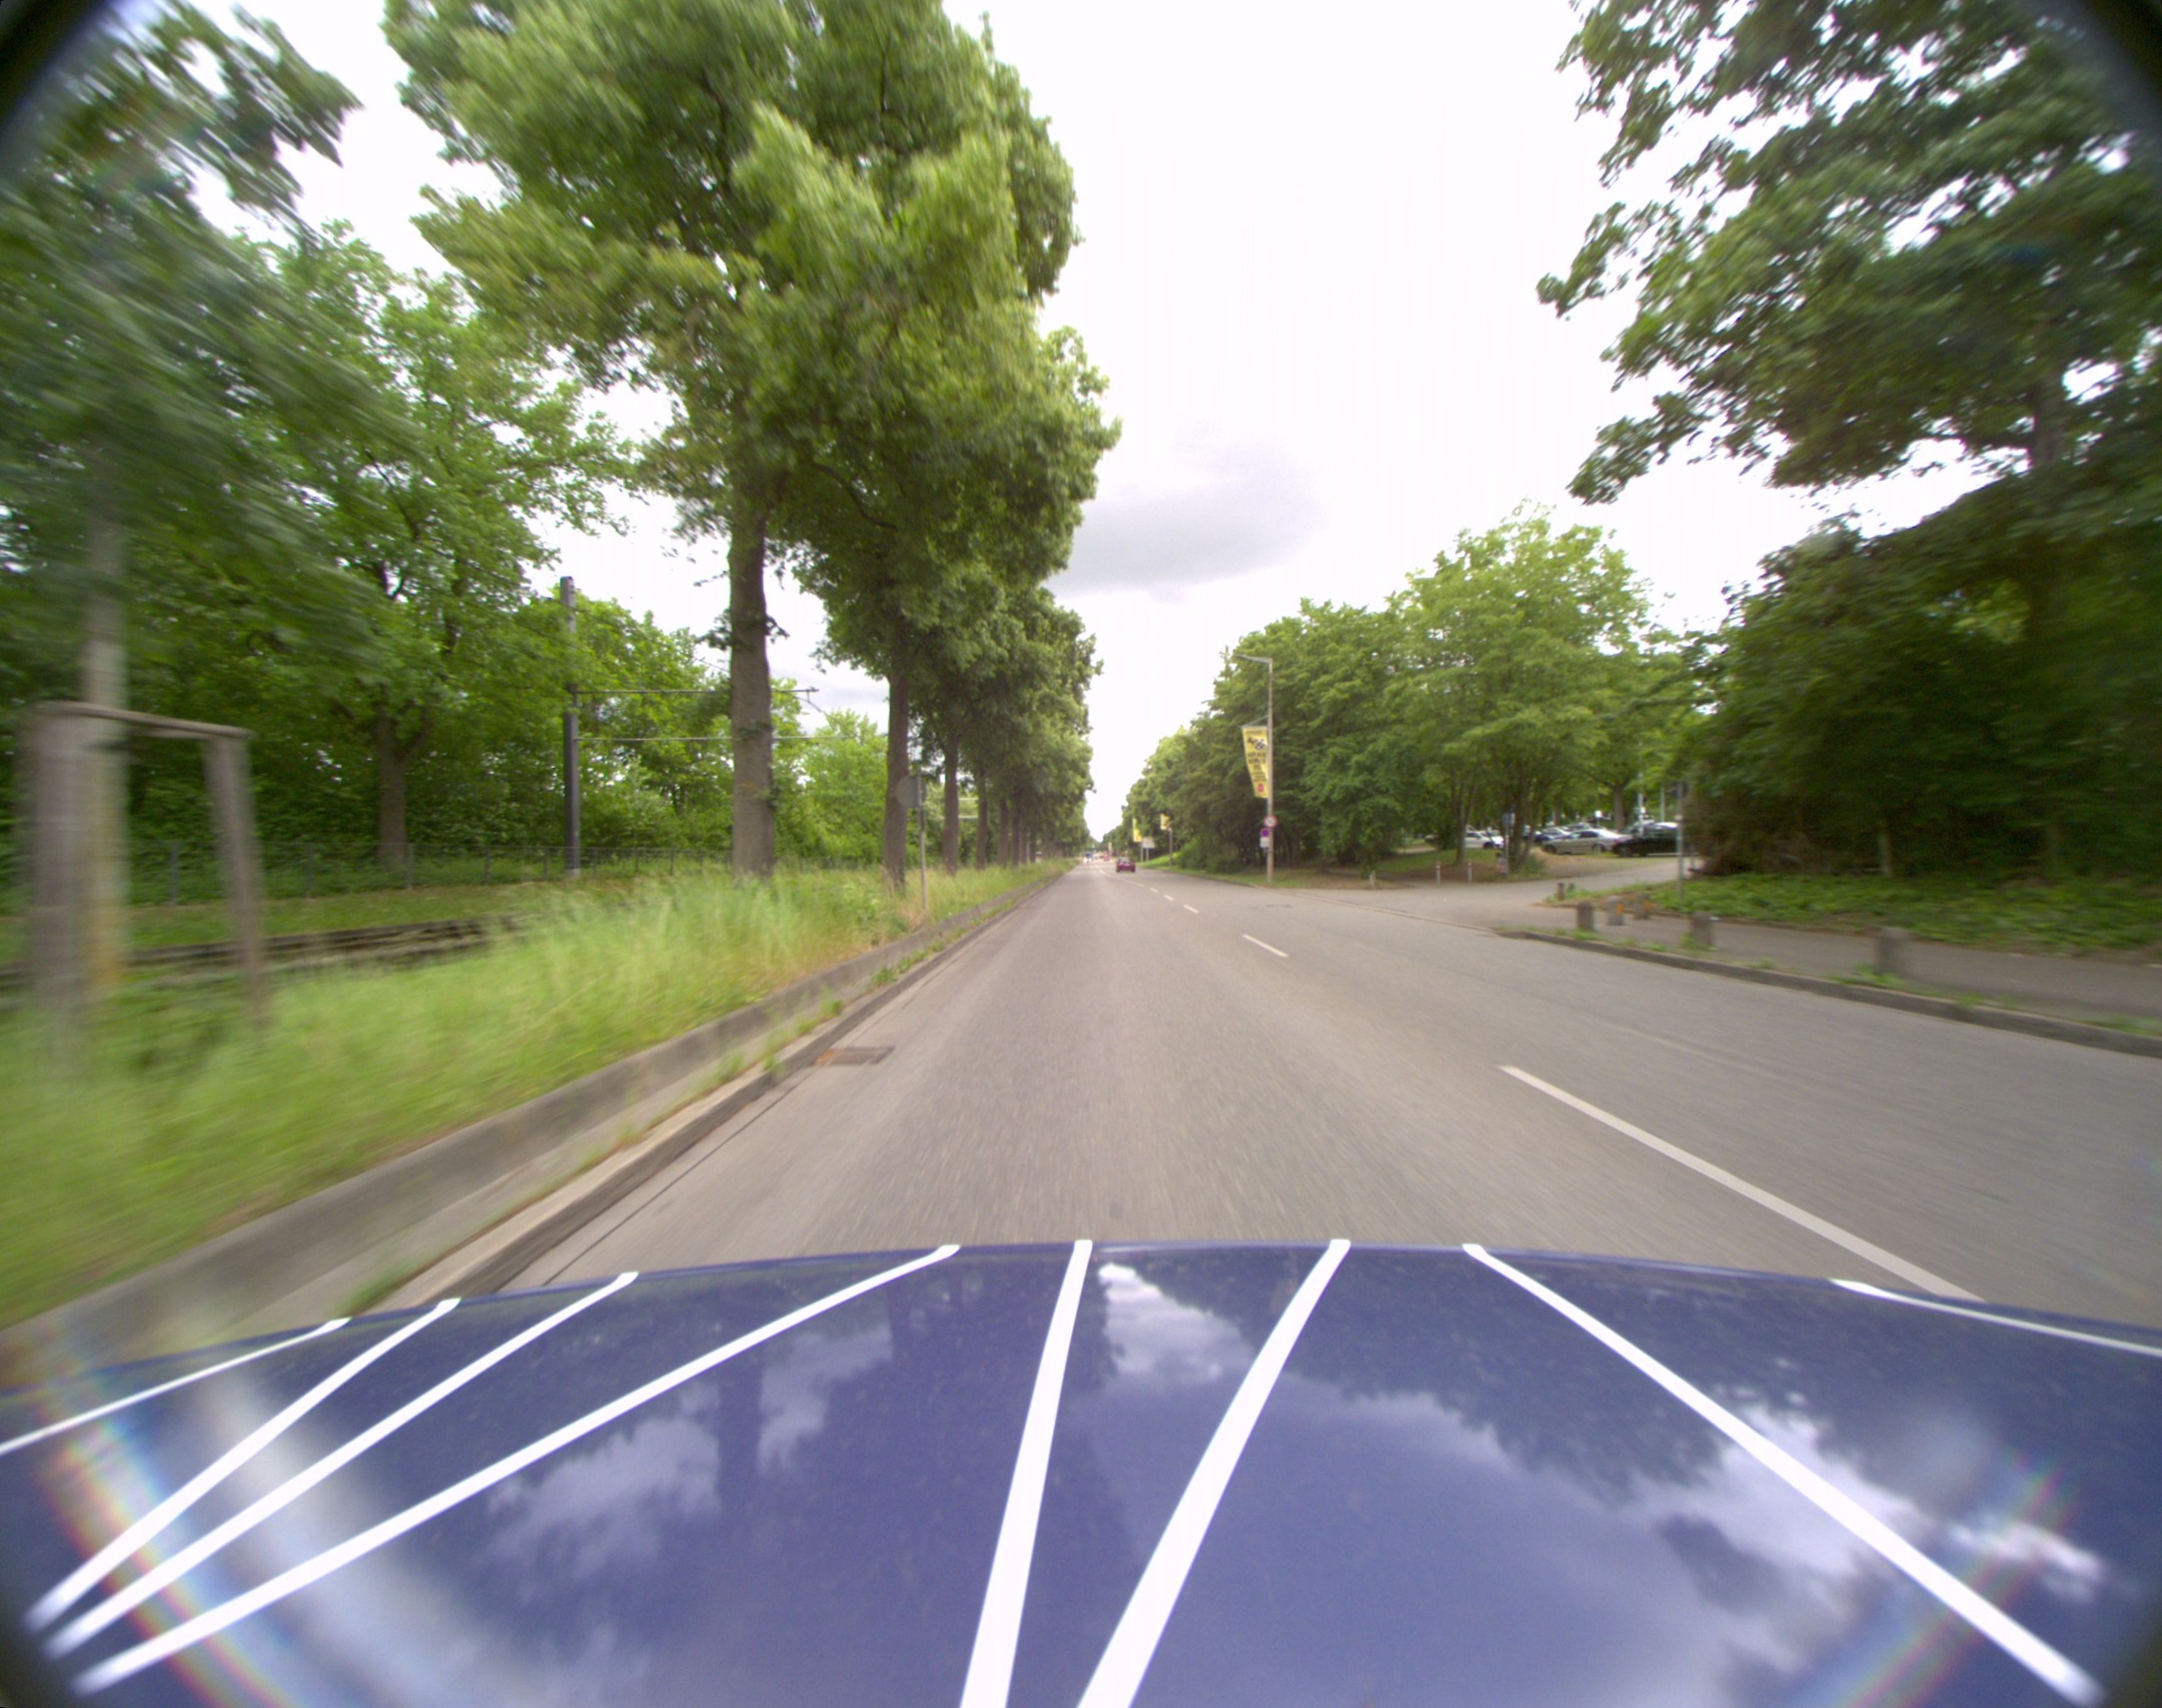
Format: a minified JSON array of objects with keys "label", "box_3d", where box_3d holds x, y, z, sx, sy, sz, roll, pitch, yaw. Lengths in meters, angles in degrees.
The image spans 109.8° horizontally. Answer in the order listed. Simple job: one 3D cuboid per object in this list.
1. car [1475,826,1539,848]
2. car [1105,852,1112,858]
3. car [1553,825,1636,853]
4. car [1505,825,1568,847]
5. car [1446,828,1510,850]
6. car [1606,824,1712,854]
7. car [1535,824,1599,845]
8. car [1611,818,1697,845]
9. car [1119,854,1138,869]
[{"label":"car","box_3d":[32.005,-1.250,57.163,1.653,1.477,3.992,-2,0,-23]},{"label":"car","box_3d":[9.108,0.372,251.456,1.998,1.944,5.184,-1,0,1]},{"label":"car","box_3d":[29.589,-0.845,43.881,1.651,1.372,3.580,-4,1,-26]},{"label":"car","box_3d":[35.398,-1.375,59.128,1.653,1.477,3.992,-2,0,-23]},{"label":"car","box_3d":[29.232,-1.078,56.098,1.653,1.477,3.992,-2,0,-23]},{"label":"car","box_3d":[29.122,-0.712,38.428,1.443,1.332,4.117,-4,1,-21]},{"label":"car","box_3d":[38.440,-1.487,60.193,1.653,1.477,3.992,-2,0,-23]},{"label":"car","box_3d":[35.916,-1.389,47.705,1.653,1.477,3.992,-2,0,-23]},{"label":"car","box_3d":[4.615,0.724,74.399,1.720,1.420,4.197,1,0,3]}]
